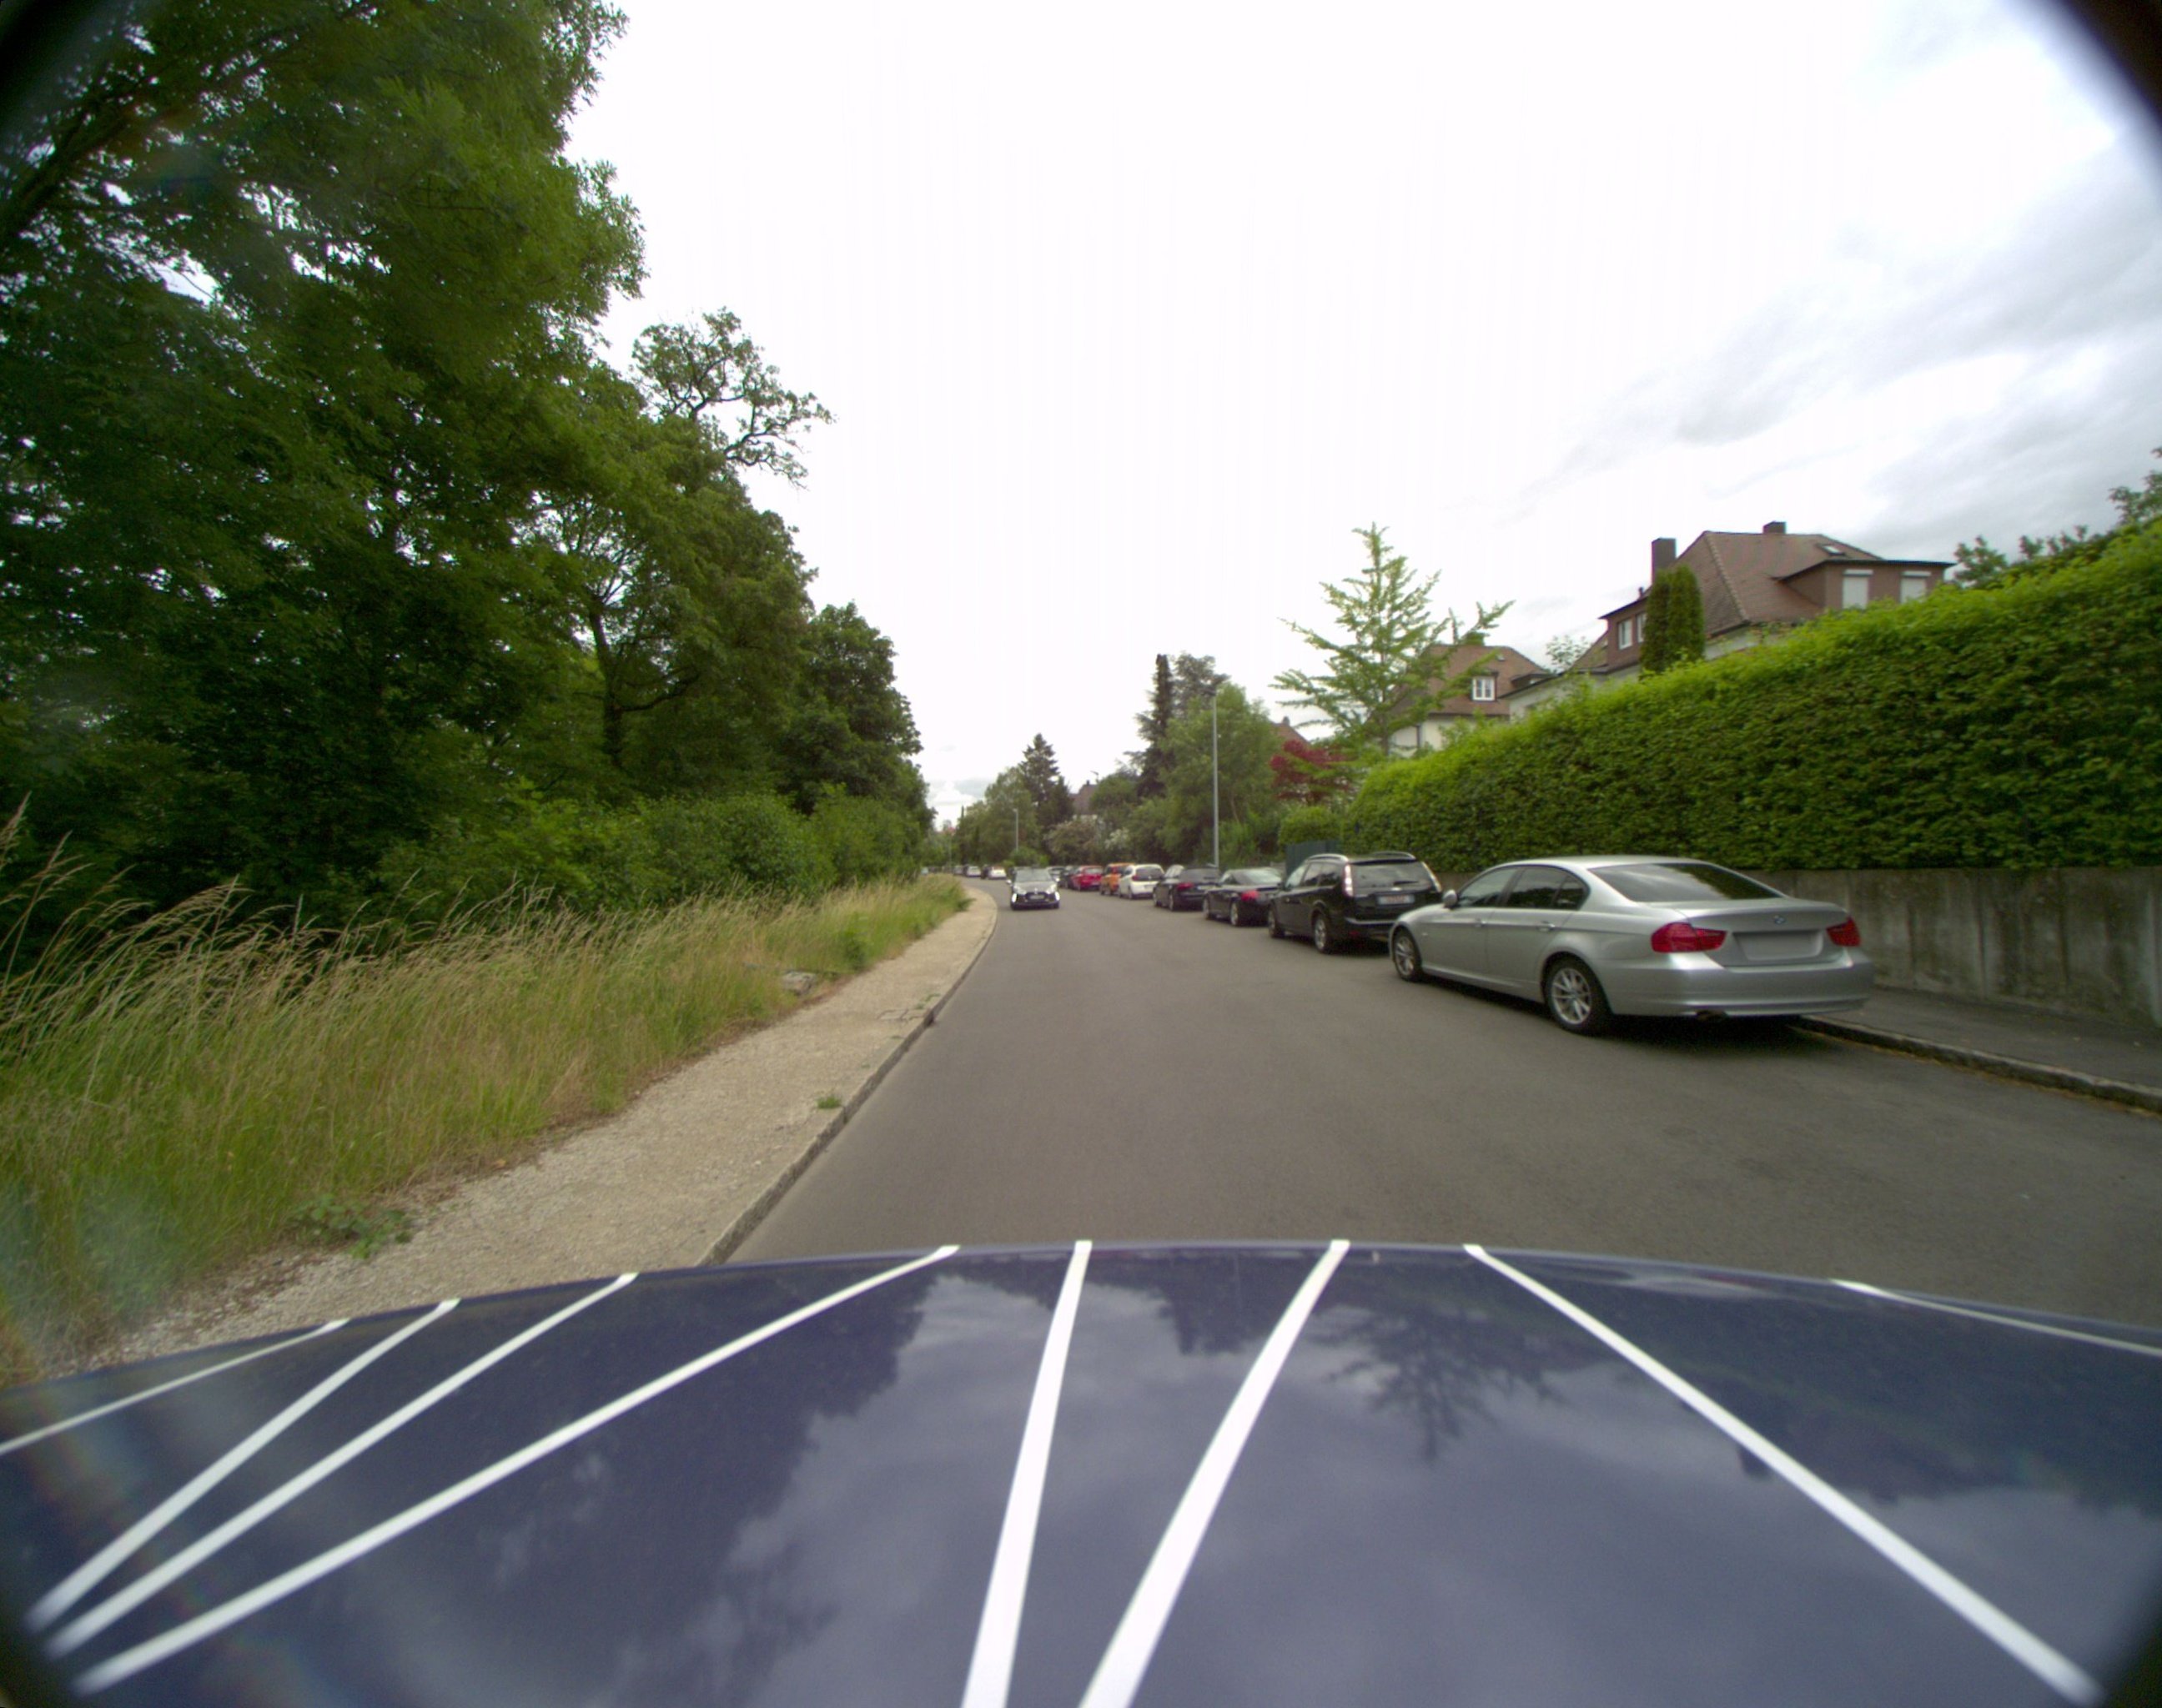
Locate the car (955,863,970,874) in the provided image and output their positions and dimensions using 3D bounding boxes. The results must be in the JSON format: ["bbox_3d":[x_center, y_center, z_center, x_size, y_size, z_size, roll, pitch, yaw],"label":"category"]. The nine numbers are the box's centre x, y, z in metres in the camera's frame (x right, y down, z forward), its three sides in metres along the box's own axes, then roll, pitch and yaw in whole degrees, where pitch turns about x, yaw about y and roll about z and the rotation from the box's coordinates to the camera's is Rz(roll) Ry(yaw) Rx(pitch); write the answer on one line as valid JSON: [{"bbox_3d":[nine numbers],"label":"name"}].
[{"bbox_3d":[-19.170,2.326,122.883,1.802,1.597,4.724,-2,0,-15],"label":"car"}]

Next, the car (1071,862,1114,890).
[{"bbox_3d":[0.613,1.264,44.704,1.712,1.505,4.360,-2,0,-10],"label":"car"}]

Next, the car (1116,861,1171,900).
[{"bbox_3d":[2.622,1.090,32.536,1.593,1.505,3.588,-2,0,-8],"label":"car"}]

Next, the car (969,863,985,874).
[{"bbox_3d":[-14.382,1.993,104.767,1.713,1.502,4.549,-2,0,-13],"label":"car"}]

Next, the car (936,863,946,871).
[{"bbox_3d":[-31.793,2.899,172.734,1.924,1.670,4.190,-2,0,-14],"label":"car"}]

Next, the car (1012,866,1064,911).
[{"bbox_3d":[-1.691,1.240,28.386,1.712,1.466,4.193,-2,0,-6],"label":"car"}]

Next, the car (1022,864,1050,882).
[{"bbox_3d":[-3.978,1.640,66.669,1.713,1.408,4.127,-2,0,-15],"label":"car"}]

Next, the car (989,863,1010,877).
[{"bbox_3d":[-9.142,1.826,85.383,1.713,1.502,3.941,-2,0,-15],"label":"car"}]

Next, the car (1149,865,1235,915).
[{"bbox_3d":[3.459,1.076,24.593,1.723,1.376,4.661,-2,0,-5],"label":"car"}]

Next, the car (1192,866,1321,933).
[{"bbox_3d":[4.091,1.017,18.415,1.716,1.333,4.105,-2,0,-7],"label":"car"}]

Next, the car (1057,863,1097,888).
[{"bbox_3d":[-0.319,1.349,49.710,1.713,1.505,4.491,-2,0,-12],"label":"car"}]

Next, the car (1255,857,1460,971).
[{"bbox_3d":[4.377,0.847,12.831,1.661,1.524,4.473,-2,0,-2],"label":"car"}]

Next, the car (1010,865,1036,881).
[{"bbox_3d":[-5.485,1.764,71.136,1.713,1.408,4.144,-2,0,-15],"label":"car"}]

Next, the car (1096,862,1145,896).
[{"bbox_3d":[1.882,1.173,37.142,1.549,1.505,3.641,-2,0,-10],"label":"car"}]

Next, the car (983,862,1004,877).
[{"bbox_3d":[-10.407,1.806,89.807,1.798,1.654,4.386,-2,0,-15],"label":"car"}]

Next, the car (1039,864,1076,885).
[{"bbox_3d":[-1.712,1.419,54.701,1.713,1.402,4.155,-2,0,-15],"label":"car"}]

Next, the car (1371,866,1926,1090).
[{"bbox_3d":[4.603,0.844,7.186,1.780,1.365,4.339,-2,0,-4],"label":"car"}]

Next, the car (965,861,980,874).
[{"bbox_3d":[-15.791,1.924,110.475,1.713,1.789,4.293,-2,0,-14],"label":"car"}]
